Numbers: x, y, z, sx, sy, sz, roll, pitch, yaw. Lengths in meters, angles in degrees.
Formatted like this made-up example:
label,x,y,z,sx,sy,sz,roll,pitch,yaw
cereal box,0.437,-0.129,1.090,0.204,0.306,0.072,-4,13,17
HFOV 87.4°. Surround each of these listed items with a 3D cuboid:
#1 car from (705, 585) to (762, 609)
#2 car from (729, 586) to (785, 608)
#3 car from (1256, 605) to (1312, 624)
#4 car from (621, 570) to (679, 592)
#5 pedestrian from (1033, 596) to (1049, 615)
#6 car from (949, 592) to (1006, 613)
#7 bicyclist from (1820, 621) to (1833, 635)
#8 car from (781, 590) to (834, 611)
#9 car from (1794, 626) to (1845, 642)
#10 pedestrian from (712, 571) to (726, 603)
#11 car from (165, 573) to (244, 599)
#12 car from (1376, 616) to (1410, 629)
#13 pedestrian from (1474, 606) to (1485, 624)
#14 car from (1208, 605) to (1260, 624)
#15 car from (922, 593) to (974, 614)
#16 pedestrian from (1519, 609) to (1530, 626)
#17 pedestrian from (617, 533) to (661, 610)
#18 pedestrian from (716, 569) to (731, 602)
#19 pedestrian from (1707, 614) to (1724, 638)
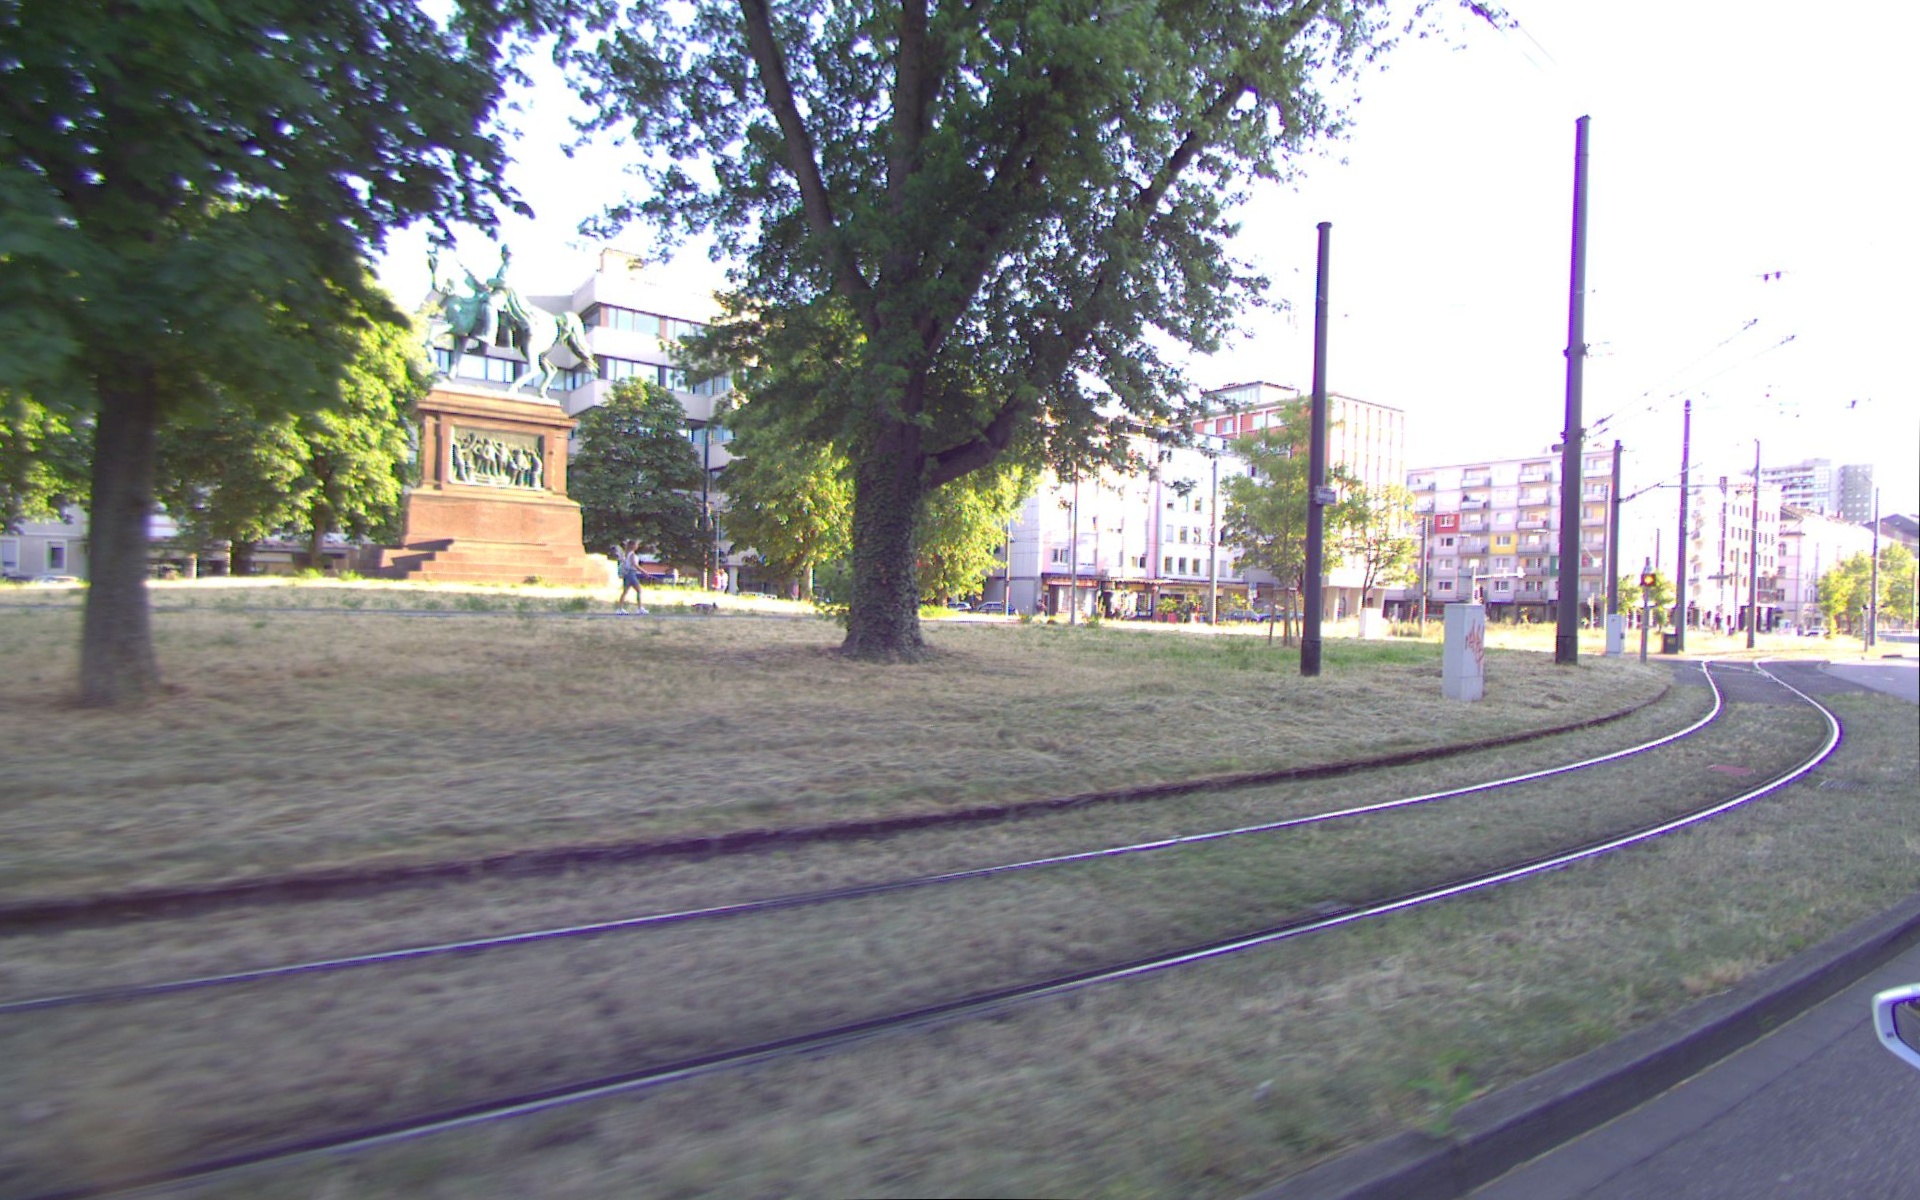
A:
label,x,y,z,sx,sy,sz,roll,pitch,yaw
car,-17.277,-0.234,76.672,4.136,1.819,1.755,0,1,-13
car,-14.868,-0.221,73.829,3.927,1.601,1.794,0,1,-9
car,27.651,1.214,85.796,4.218,1.547,1.755,0,1,-13
car,-23.317,-1.444,75.677,3.998,1.577,1.861,0,1,-13
pedestrian,6.831,0.443,84.746,0.845,1.548,1.110,0,1,-37
car,1.341,0.197,76.723,3.998,1.577,1.861,0,1,-13
bicyclist,93.186,3.037,108.037,0.841,1.462,0.661,3,3,33
car,-11.728,0.063,77.238,3.931,1.573,1.755,0,1,-13
car,93.747,3.665,109.661,3.929,1.453,1.714,3,2,31
pedestrian,-11.595,-0.609,48.297,0.547,1.532,0.450,0,1,-34
car,-52.110,-0.964,69.358,3.931,1.686,1.755,0,1,-13
car,57.679,2.920,133.758,1.789,1.606,3.832,0,1,-40
pedestrian,54.777,1.613,105.888,0.729,1.877,0.700,0,1,-35
car,23.253,1.190,85.198,3.931,1.547,1.755,0,1,-13
car,-0.986,0.283,79.547,3.928,1.573,1.757,0,1,-10
pedestrian,57.506,1.764,102.347,0.775,1.692,0.734,0,1,-34
pedestrian,-7.309,-0.628,22.884,0.469,1.712,0.832,1,0,40
pedestrian,-11.592,-0.710,49.162,0.547,1.602,0.614,0,1,-34
pedestrian,56.305,1.917,74.880,0.639,1.786,0.720,0,1,-14
